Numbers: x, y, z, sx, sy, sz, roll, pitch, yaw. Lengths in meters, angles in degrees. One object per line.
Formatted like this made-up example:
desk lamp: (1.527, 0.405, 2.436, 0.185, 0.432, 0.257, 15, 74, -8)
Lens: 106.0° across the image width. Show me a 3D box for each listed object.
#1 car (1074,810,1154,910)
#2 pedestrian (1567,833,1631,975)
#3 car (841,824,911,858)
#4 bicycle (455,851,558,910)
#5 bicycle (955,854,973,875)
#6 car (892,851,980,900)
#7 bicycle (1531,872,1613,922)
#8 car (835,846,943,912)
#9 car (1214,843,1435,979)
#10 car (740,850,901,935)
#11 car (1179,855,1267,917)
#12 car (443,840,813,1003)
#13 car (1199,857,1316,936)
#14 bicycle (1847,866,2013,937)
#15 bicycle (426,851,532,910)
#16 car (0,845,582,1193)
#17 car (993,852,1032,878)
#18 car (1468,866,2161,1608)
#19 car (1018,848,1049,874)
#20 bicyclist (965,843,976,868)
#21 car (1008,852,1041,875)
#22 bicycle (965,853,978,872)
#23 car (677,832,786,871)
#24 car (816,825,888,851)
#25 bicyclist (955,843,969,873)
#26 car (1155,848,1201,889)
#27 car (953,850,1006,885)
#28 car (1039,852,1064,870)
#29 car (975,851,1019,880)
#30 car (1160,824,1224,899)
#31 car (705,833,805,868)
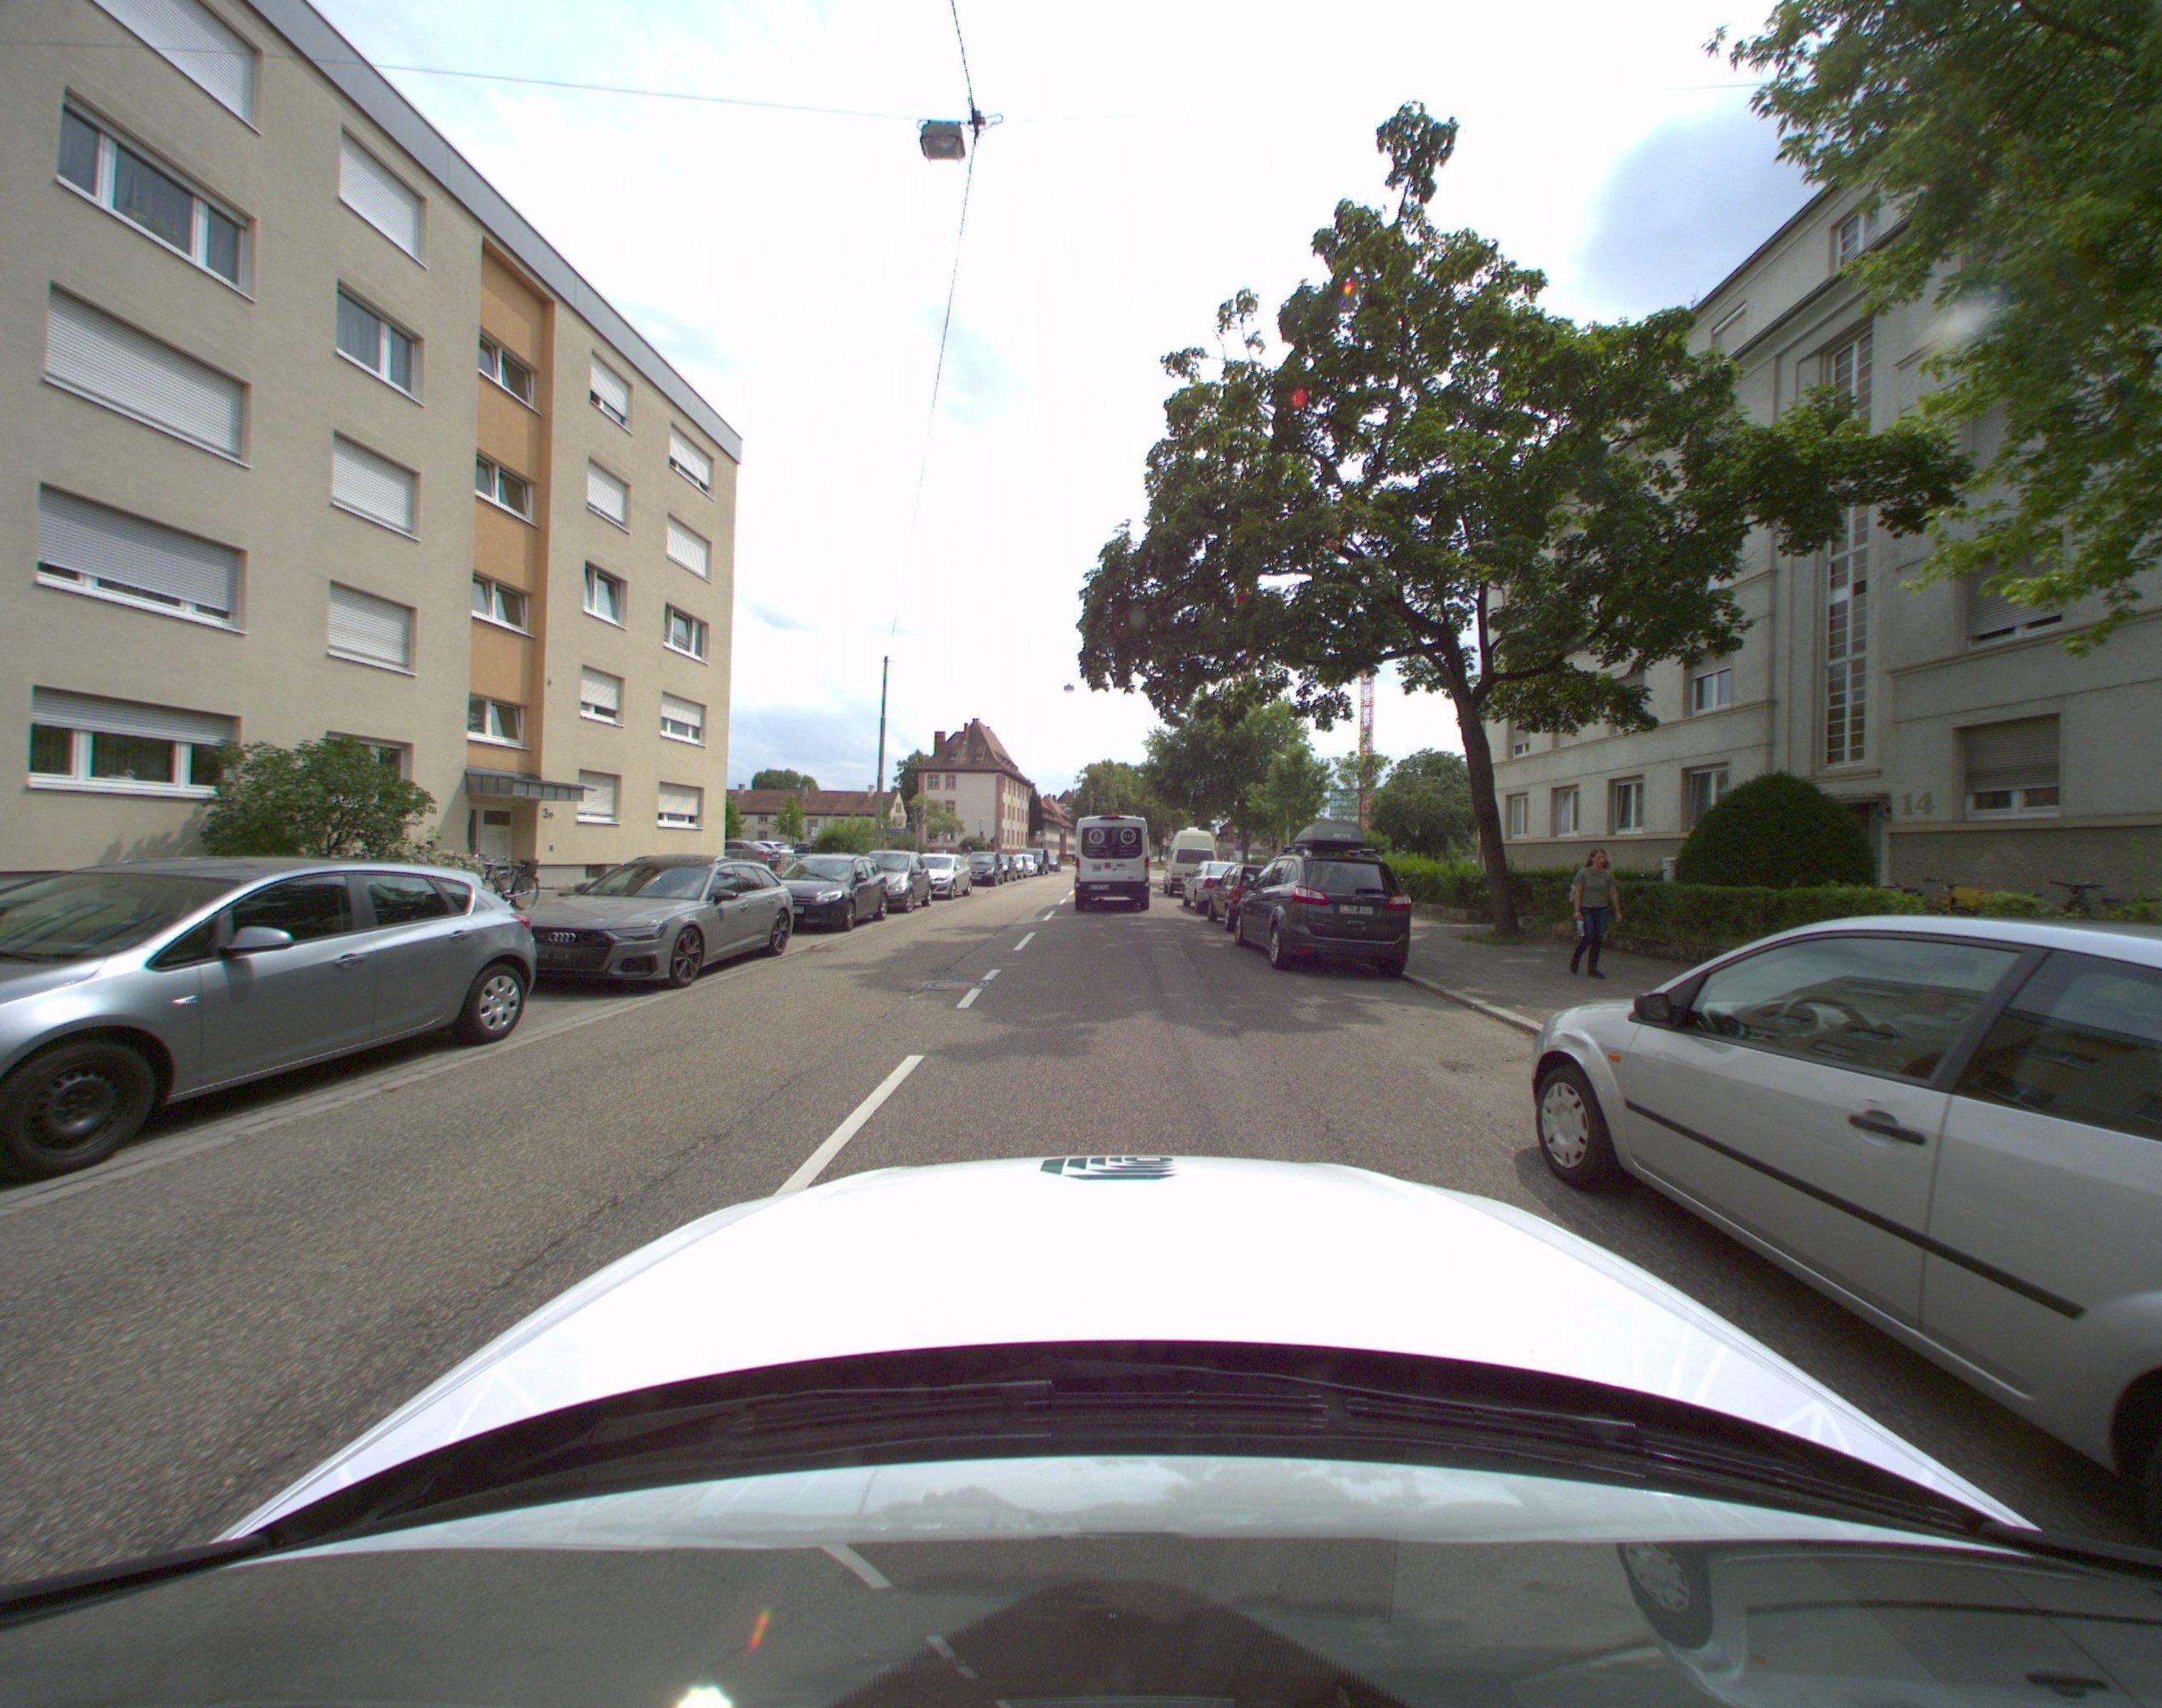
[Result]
car: (0.857, 0.169, 23.200, 2.063, 2.540, 4.634, 0, 0, 0)
pedestrian: (6.820, 0.641, 10.738, 0.520, 1.828, 0.524, 0, 0, 3)
car: (-14.685, -0.931, 58.497, 4.390, 2.348, 2.002, 1, 1, 3)
bicycle: (-11.492, 0.495, 16.370, 0.460, 1.086, 2.063, 1, 1, 5)
bicycle: (-6.685, 0.612, 46.614, 0.538, 1.175, 2.095, 0, 0, 6)
car: (-4.896, 0.674, 28.222, 1.877, 1.488, 4.638, 2, 0, 4)
bicycle: (9.570, 0.832, 15.892, 1.384, 0.917, 0.512, 1, 1, -11)
car: (-5.169, 0.624, 22.497, 1.879, 1.579, 4.153, 2, 0, 1)
car: (3.604, 0.741, 13.249, 1.921, 1.661, 5.324, 3, 0, 0)
car: (-5.304, 0.707, 17.328, 1.735, 1.496, 4.787, 2, 0, 1)
car: (3.921, 0.832, 23.186, 1.675, 1.469, 4.555, 4, 0, 0)
car: (-5.432, 0.680, 10.824, 1.879, 1.579, 5.219, 2, 0, 1)
car: (3.829, 0.864, 18.329, 1.707, 1.464, 4.000, 3, 0, 0)
bicycle: (15.269, 0.815, 14.756, 0.706, 1.112, 2.249, 1, 1, 2)
bicycle: (-12.088, 0.497, 16.442, 0.460, 1.086, 2.063, 1, 1, 5)
car: (-5.566, 0.722, 5.281, 1.682, 1.496, 4.595, 2, 0, 1)
car: (-4.135, 0.644, 49.750, 1.778, 1.462, 3.864, 2, 0, 3)
car: (3.101, 0.836, 2.873, 1.653, 1.456, 4.038, 2, 0, 2)
car: (-3.525, 0.479, 61.186, 1.778, 1.827, 3.977, 2, 0, 3)
bicyclist: (-7.060, 0.092, 51.961, 0.533, 1.585, 0.692, 0, 0, 5)
car: (-3.854, 0.641, 56.058, 1.778, 1.482, 3.864, 2, 0, 3)
bicycle: (-7.031, 0.550, 52.267, 0.539, 1.175, 1.351, 0, 0, 5)
car: (-16.205, -0.130, 37.860, 4.155, 1.684, 2.002, 1, 1, 3)
car: (-15.295, -1.059, 54.445, 4.155, 1.684, 2.002, 1, 1, 3)
bicyclist: (-6.741, 0.207, 46.101, 0.534, 1.653, 1.049, 0, 0, 6)
car: (4.418, 0.633, 37.536, 1.706, 1.695, 4.002, 3, 0, 2)
car: (-4.762, 0.603, 38.623, 1.778, 1.543, 3.864, 2, 0, 3)
car: (-2.556, 0.612, 71.363, 1.778, 1.482, 3.864, 2, 0, 3)
car: (-4.530, 0.622, 44.584, 1.778, 1.462, 3.864, 2, 0, 3)
car: (4.229, 0.265, 31.656, 1.889, 2.587, 4.831, 3, 0, 2)
car: (-16.312, -0.184, 40.931, 4.155, 1.684, 2.002, 1, 1, 3)
